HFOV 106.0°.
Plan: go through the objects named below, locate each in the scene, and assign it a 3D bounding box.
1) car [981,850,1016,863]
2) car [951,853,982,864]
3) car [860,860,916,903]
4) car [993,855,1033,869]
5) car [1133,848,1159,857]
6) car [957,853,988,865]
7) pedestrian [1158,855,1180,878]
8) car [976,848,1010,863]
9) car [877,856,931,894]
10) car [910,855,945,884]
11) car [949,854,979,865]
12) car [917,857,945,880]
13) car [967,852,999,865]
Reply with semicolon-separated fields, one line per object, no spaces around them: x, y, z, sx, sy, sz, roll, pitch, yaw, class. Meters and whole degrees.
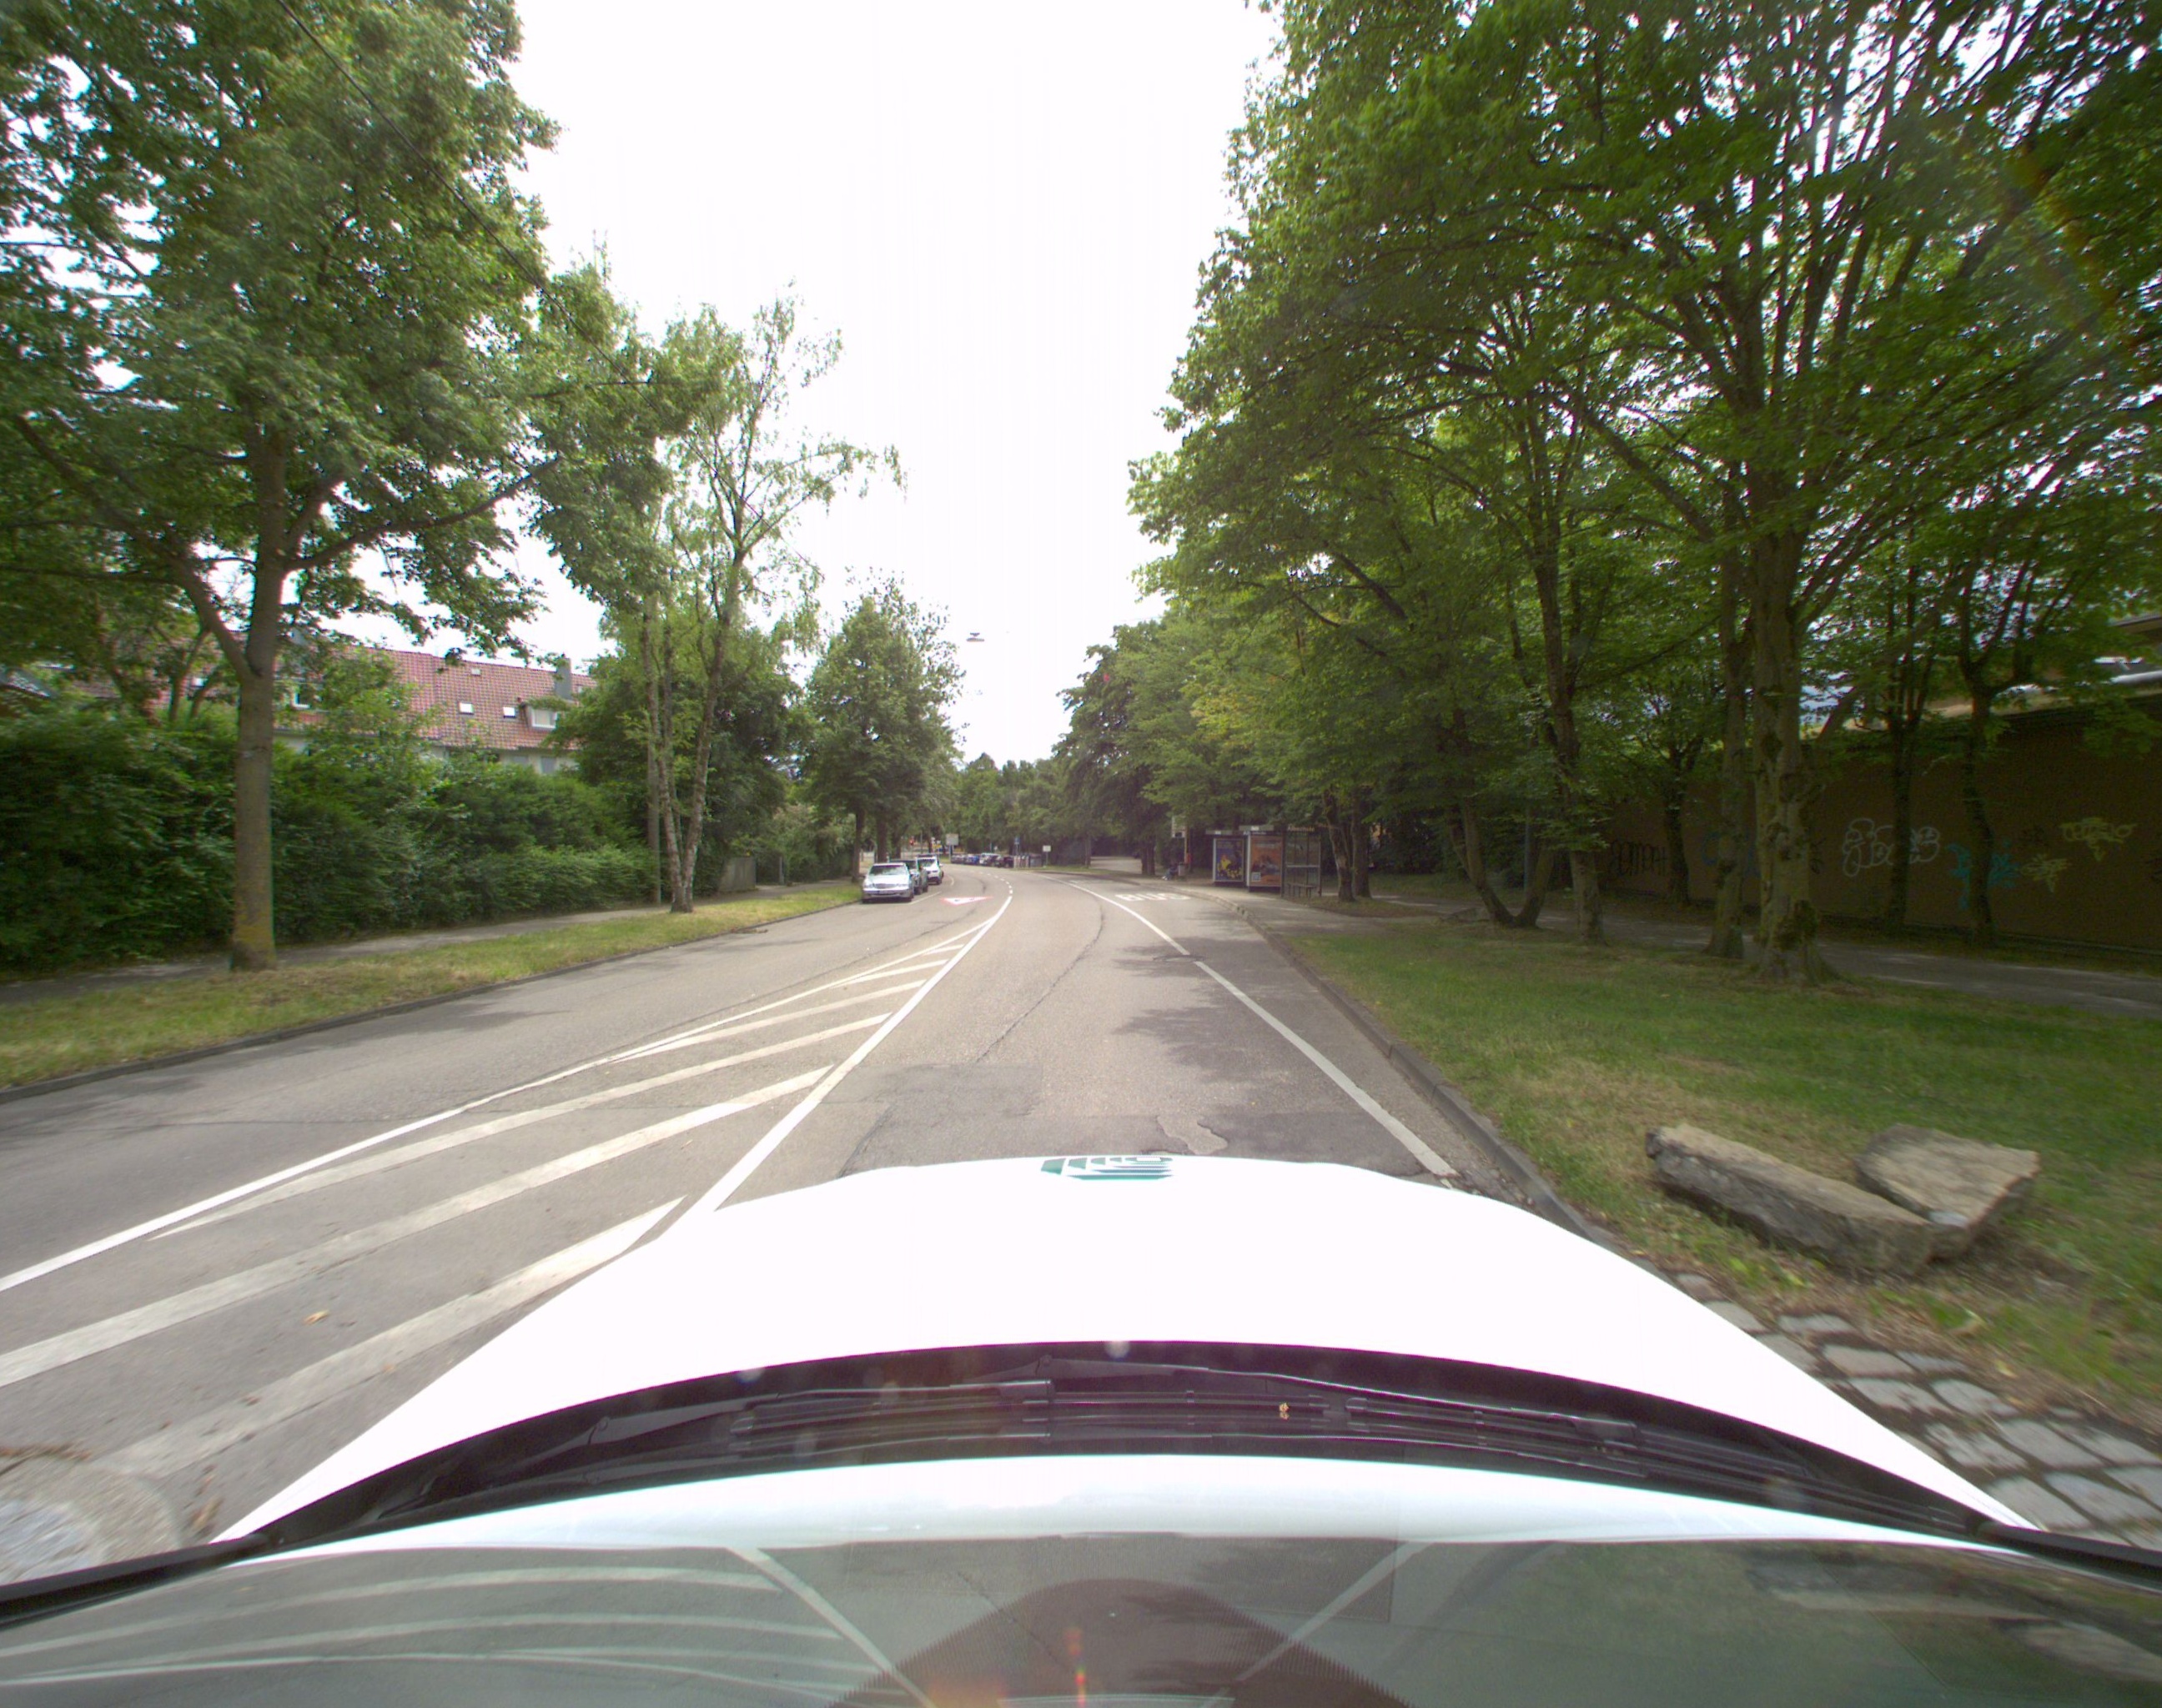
-10.123;0.313;100.172;3.849;1.468;1.727;3;-1;-38;car
-16.134;0.706;114.505;3.904;1.426;1.809;3;-2;-38;car
-7.110;0.967;30.308;1.736;1.416;4.456;-2;0;-10;car
-7.730;0.916;92.095;4.018;1.414;2.035;3;0;-38;car
10.860;-0.176;135.312;3.991;1.409;1.792;-1;0;-13;car
-14.829;0.747;111.613;3.849;1.528;1.726;3;-2;-38;car
4.791;0.673;44.483;1.063;1.182;0.578;-1;0;-10;pedestrian
-11.048;0.235;102.794;3.849;1.720;1.857;3;-2;-38;car
-7.806;0.891;36.240;1.732;1.538;4.183;-2;0;-4;car
-8.974;0.879;47.974;1.734;1.578;4.131;-2;0;-7;car
-17.110;0.822;119.197;3.849;1.425;1.726;3;-2;-38;car
-10.904;1.013;59.239;1.866;1.538;4.212;-1;0;-10;car
-12.877;0.572;107.193;3.849;1.528;1.726;3;-2;-38;car
